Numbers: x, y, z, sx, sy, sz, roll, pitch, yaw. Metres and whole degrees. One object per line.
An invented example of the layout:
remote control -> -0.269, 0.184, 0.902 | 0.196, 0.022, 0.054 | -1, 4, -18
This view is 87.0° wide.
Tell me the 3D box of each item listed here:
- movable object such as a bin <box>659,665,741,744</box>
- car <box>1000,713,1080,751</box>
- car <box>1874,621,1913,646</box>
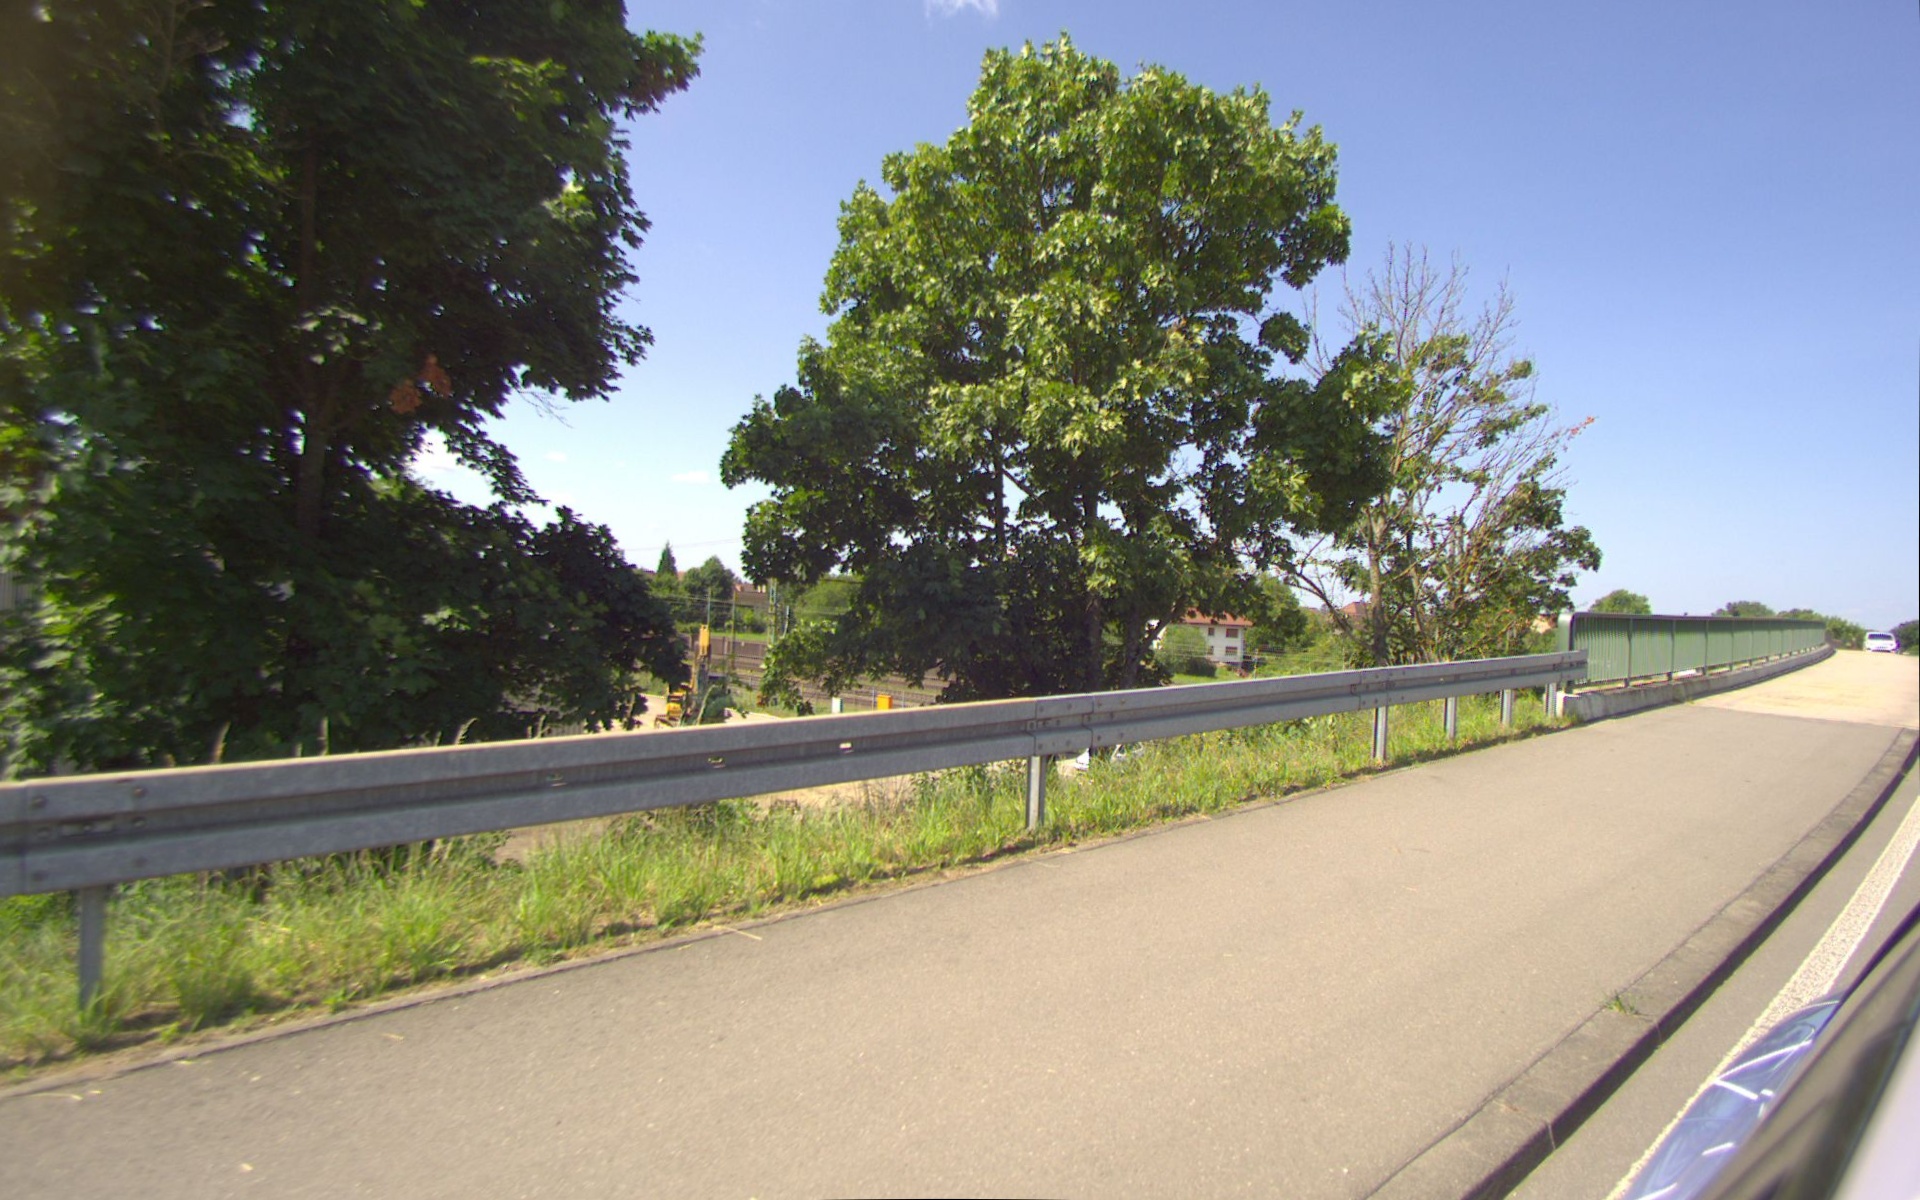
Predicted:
movable object such as a bin -> -13.580, 5.335, 52.471 | 3.180, 3.332, 6.236 | 4, -1, -21
car -> 4.157, 6.750, 52.082 | 1.992, 1.616, 4.178 | -3, -4, 42
car -> 71.083, 2.557, 77.140 | 2.086, 1.783, 4.217 | 0, -1, 42
